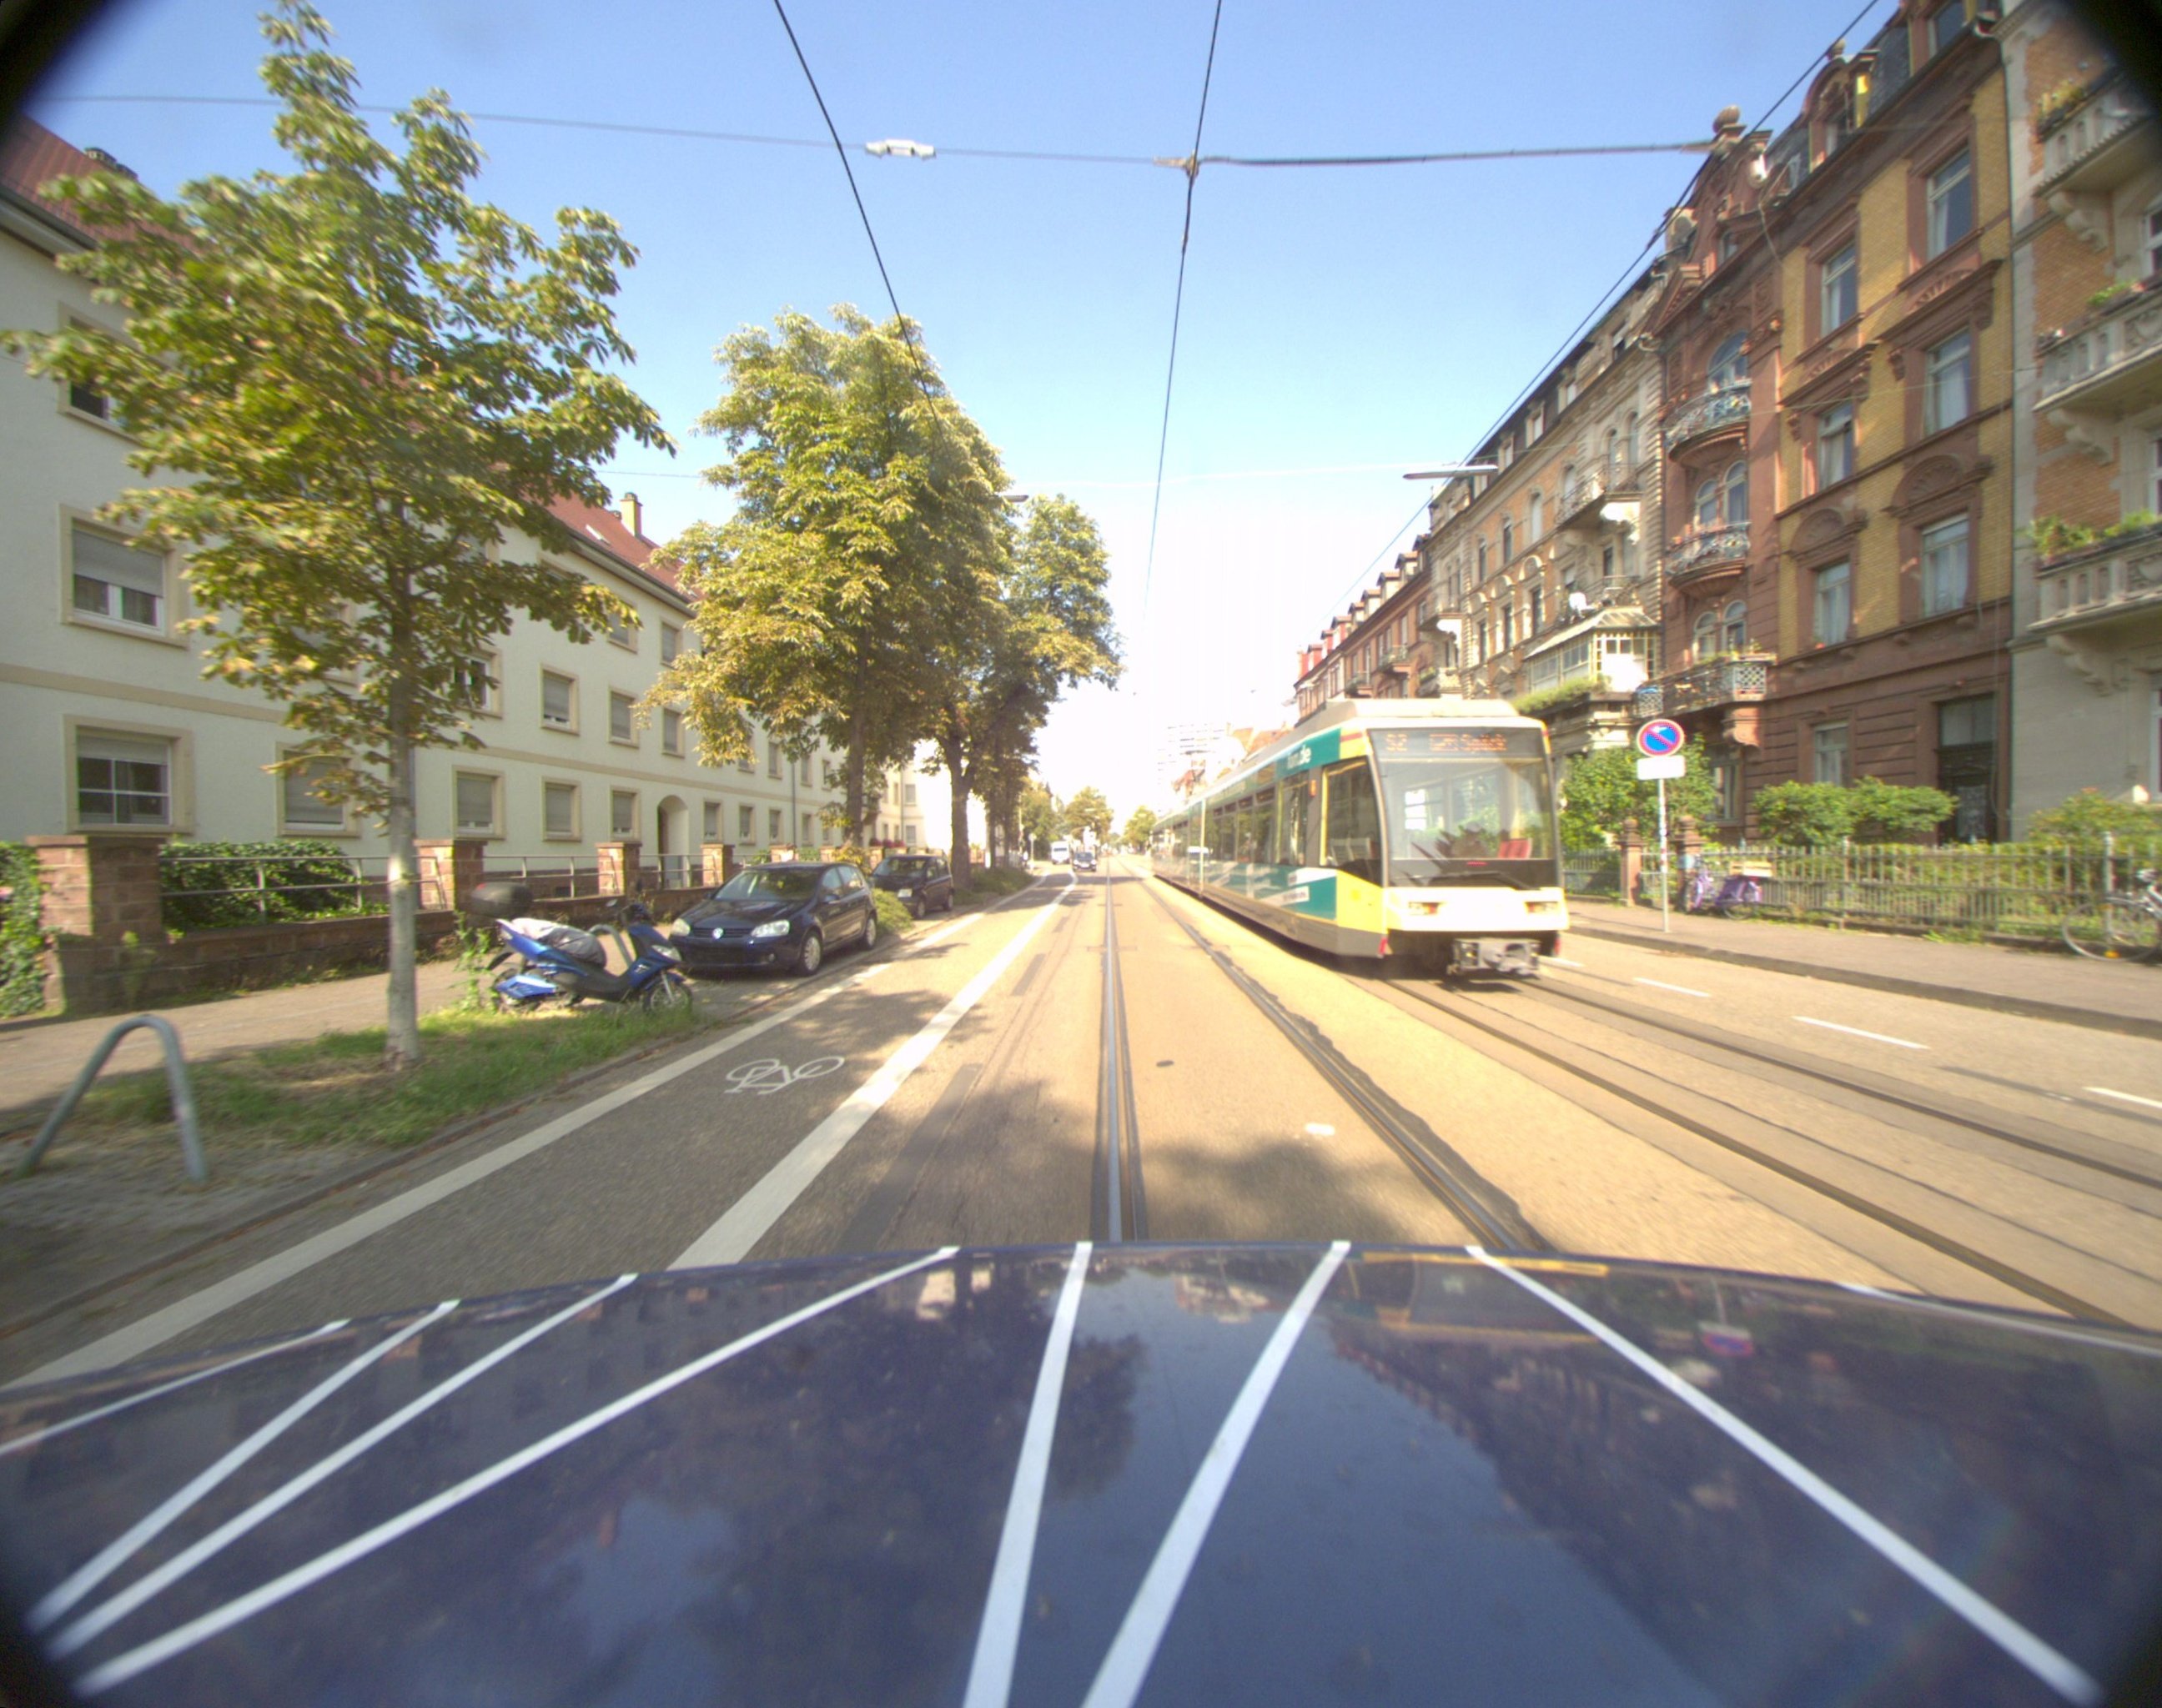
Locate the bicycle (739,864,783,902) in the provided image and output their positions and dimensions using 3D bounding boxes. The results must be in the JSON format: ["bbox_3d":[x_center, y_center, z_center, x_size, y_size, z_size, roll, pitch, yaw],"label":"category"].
[{"bbox_3d":[-9.936,0.877,23.628,0.525,1.067,1.728,-1,1,3],"label":"bicycle"}]

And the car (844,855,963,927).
[{"bbox_3d":[-4.328,0.836,19.155,1.648,1.531,3.844,1,1,8],"label":"car"}]

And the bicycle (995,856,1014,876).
[{"bbox_3d":[-4.307,0.660,42.912,0.773,1.097,2.333,-1,1,0],"label":"bicycle"}]

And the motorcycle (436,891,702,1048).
[{"bbox_3d":[-4.644,1.033,6.995,1.859,1.281,0.705,3,-4,-1],"label":"motorcycle"}]

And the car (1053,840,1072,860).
[{"bbox_3d":[-2.208,-0.493,89.143,2.088,2.264,4.825,-1,0,-2],"label":"car"}]

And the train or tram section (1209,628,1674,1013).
[{"bbox_3d":[4.238,-0.363,12.411,2.741,3.485,10.775,-1,1,2],"label":"train or tram section"}]

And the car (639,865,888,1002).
[{"bbox_3d":[-4.241,0.953,10.963,1.649,1.440,4.246,1,1,3],"label":"car"}]

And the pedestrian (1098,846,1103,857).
[{"bbox_3d":[2.641,-0.340,102.699,0.590,1.536,0.607,-1,1,4],"label":"pedestrian"}]

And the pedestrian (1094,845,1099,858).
[{"bbox_3d":[1.984,-0.324,97.298,0.553,1.750,0.533,-1,1,1],"label":"pedestrian"}]

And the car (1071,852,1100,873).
[{"bbox_3d":[0.296,0.583,54.968,1.776,1.459,3.999,-2,0,-3],"label":"car"}]

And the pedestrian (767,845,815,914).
[{"bbox_3d":[-7.471,0.647,19.609,0.754,1.739,0.879,-1,1,9],"label":"pedestrian"}]

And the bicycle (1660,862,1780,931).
[{"bbox_3d":[11.294,0.711,13.521,0.608,1.052,1.840,-5,1,4],"label":"bicycle"}]

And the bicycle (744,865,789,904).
[{"bbox_3d":[-9.502,0.908,23.013,0.525,1.067,1.728,-1,1,3],"label":"bicycle"}]

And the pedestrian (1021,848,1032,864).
[{"bbox_3d":[-6.051,0.182,84.658,1.079,1.715,0.969,2,1,1],"label":"pedestrian"}]

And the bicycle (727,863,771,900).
[{"bbox_3d":[-10.471,0.861,24.041,0.525,1.067,1.728,-1,1,3],"label":"bicycle"}]

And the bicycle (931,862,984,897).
[{"bbox_3d":[-4.136,0.845,25.547,0.524,1.067,1.732,0,1,44],"label":"bicycle"}]

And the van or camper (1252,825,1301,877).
[{"bbox_3d":[10.530,-0.227,41.328,2.054,2.629,6.092,0,1,9],"label":"van or camper"}]

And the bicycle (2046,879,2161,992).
[{"bbox_3d":[11.073,0.835,7.592,0.546,1.052,1.840,-5,1,4],"label":"bicycle"}]

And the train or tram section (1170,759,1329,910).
[{"bbox_3d":[4.580,-0.521,23.227,2.741,3.485,10.775,-1,1,2],"label":"train or tram section"}]

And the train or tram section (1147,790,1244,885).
[{"bbox_3d":[4.980,-0.719,36.299,2.741,3.485,15.432,-1,1,2],"label":"train or tram section"}]
